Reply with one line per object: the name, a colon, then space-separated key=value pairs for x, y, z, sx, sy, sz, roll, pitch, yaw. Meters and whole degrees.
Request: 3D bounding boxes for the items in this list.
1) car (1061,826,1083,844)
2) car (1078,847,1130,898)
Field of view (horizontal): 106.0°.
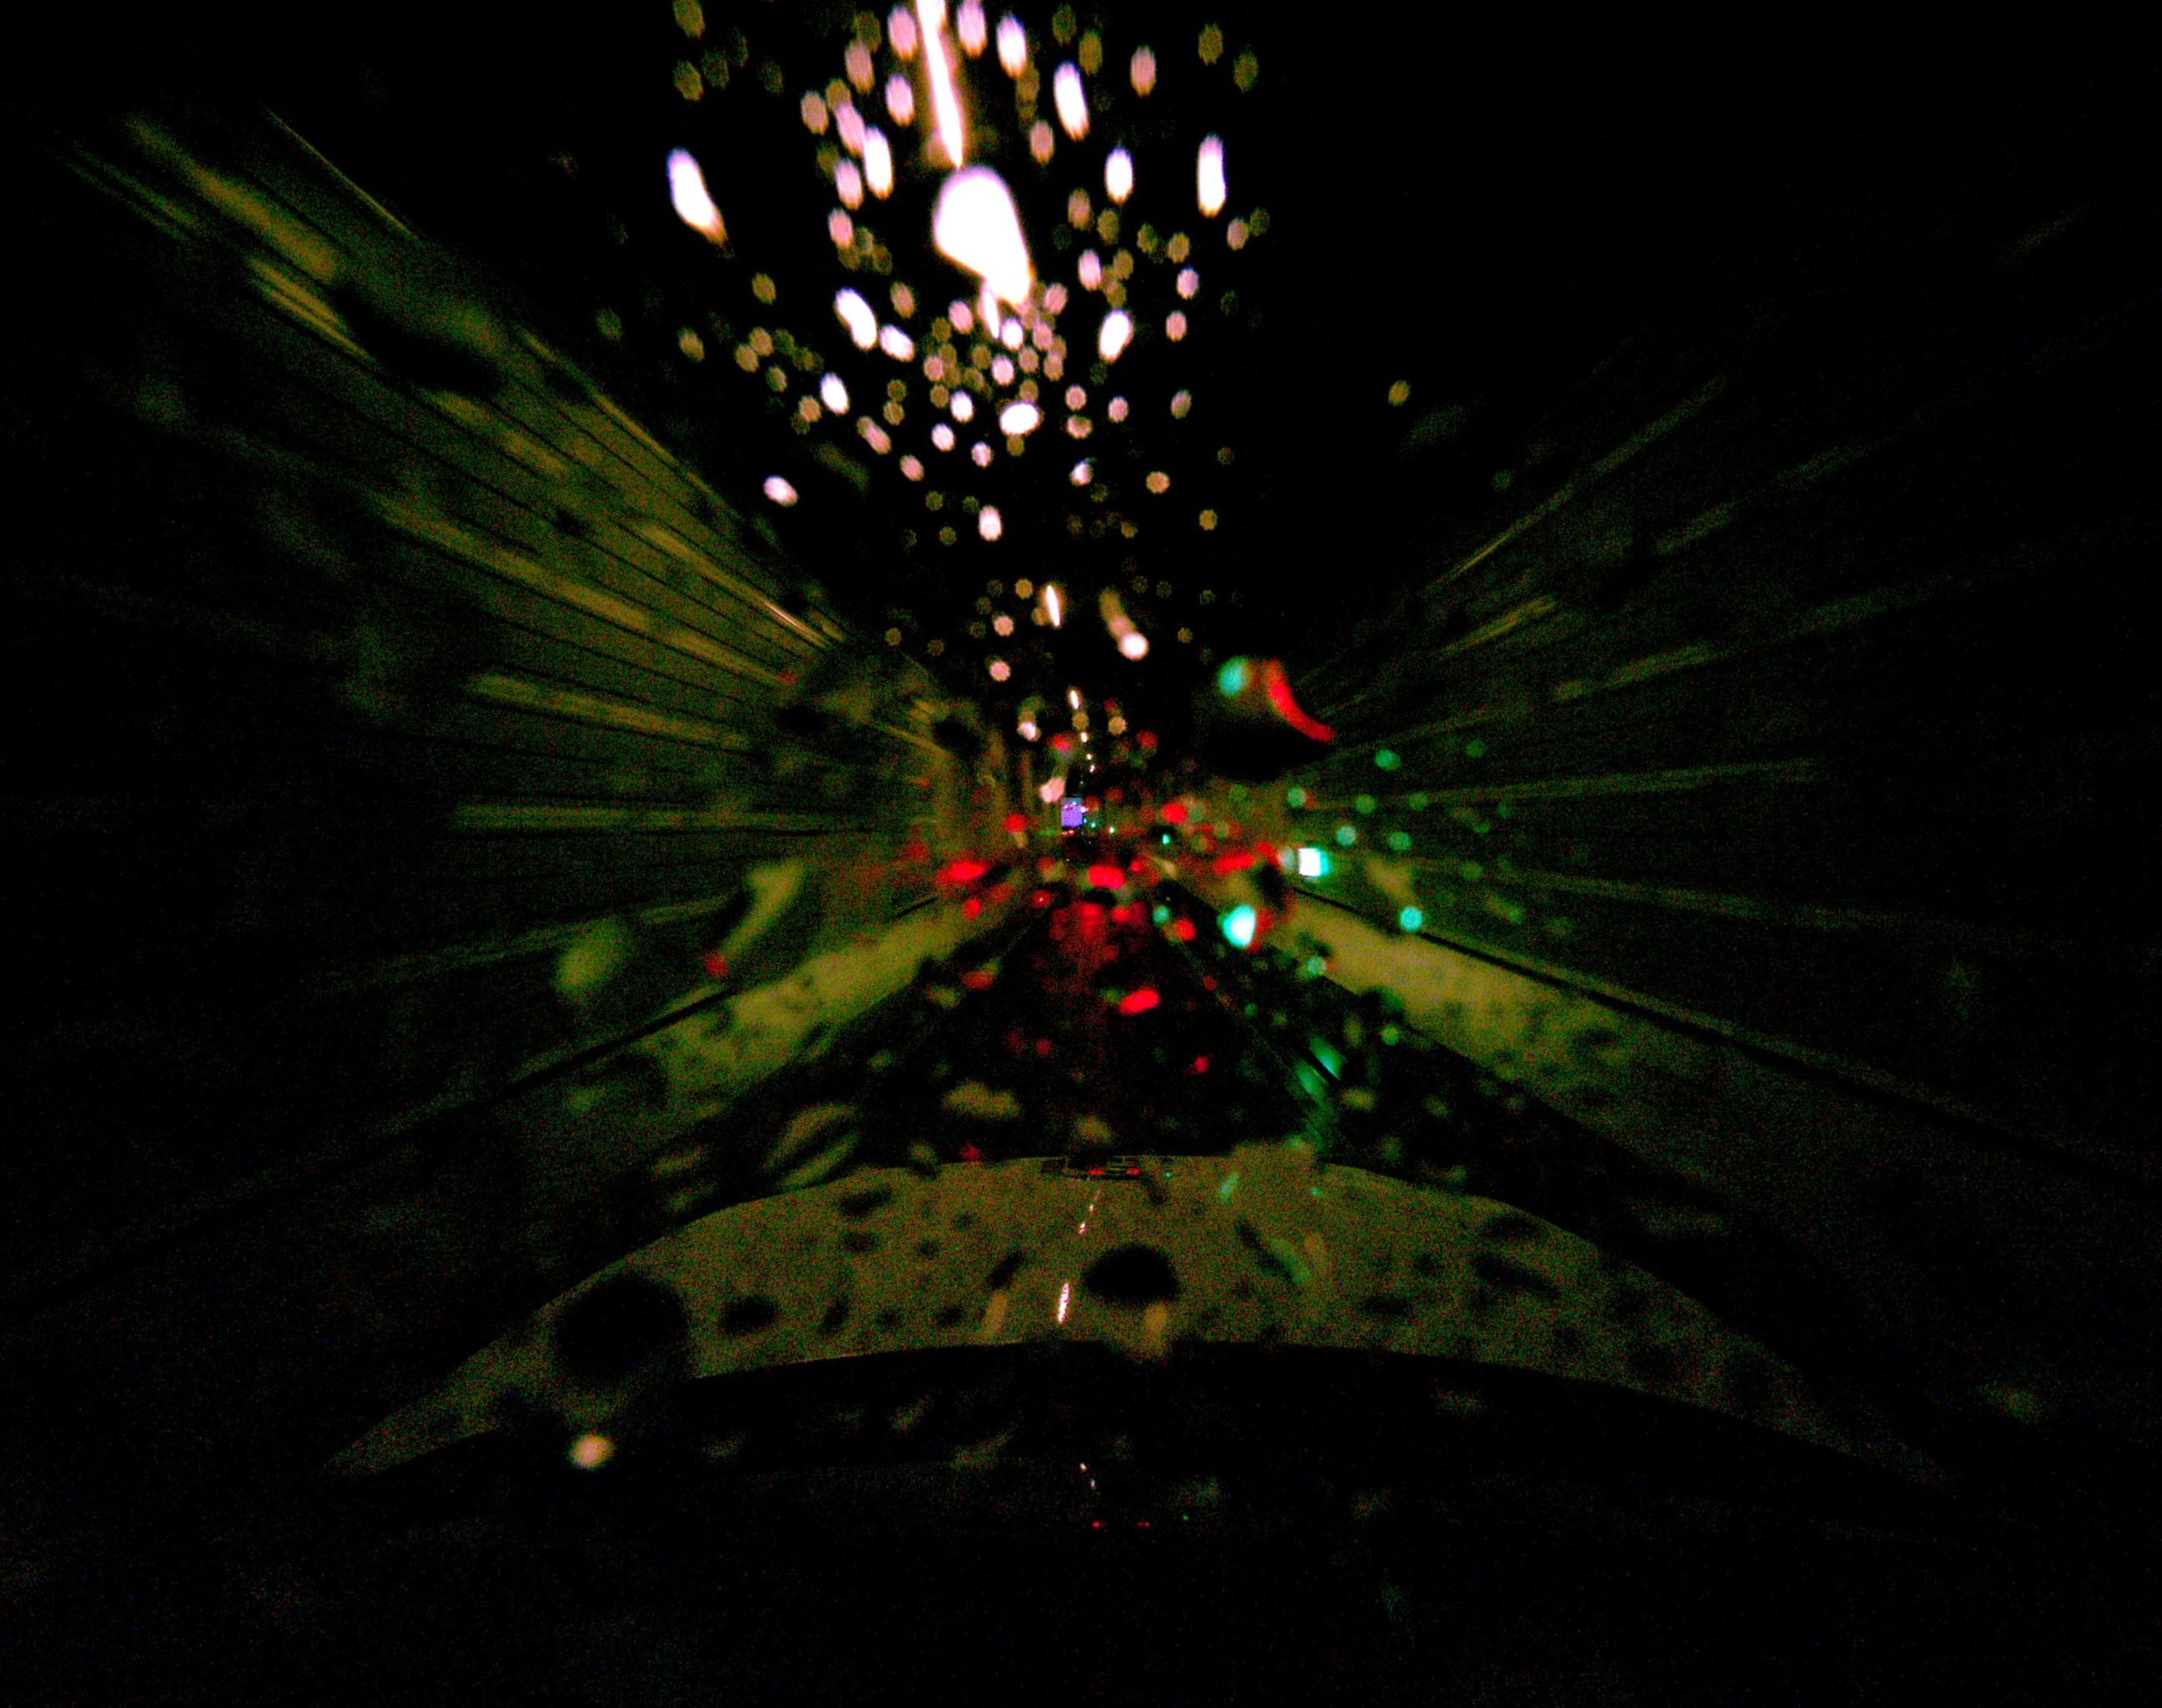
car: x=-0.870 y=-1.800 z=75.872 sx=1.876 sy=1.620 sz=3.995 roll=0 pitch=1 yaw=-4
car: x=0.741 y=0.532 z=25.838 sx=1.526 sy=1.397 sz=3.436 roll=0 pitch=3 yaw=2
